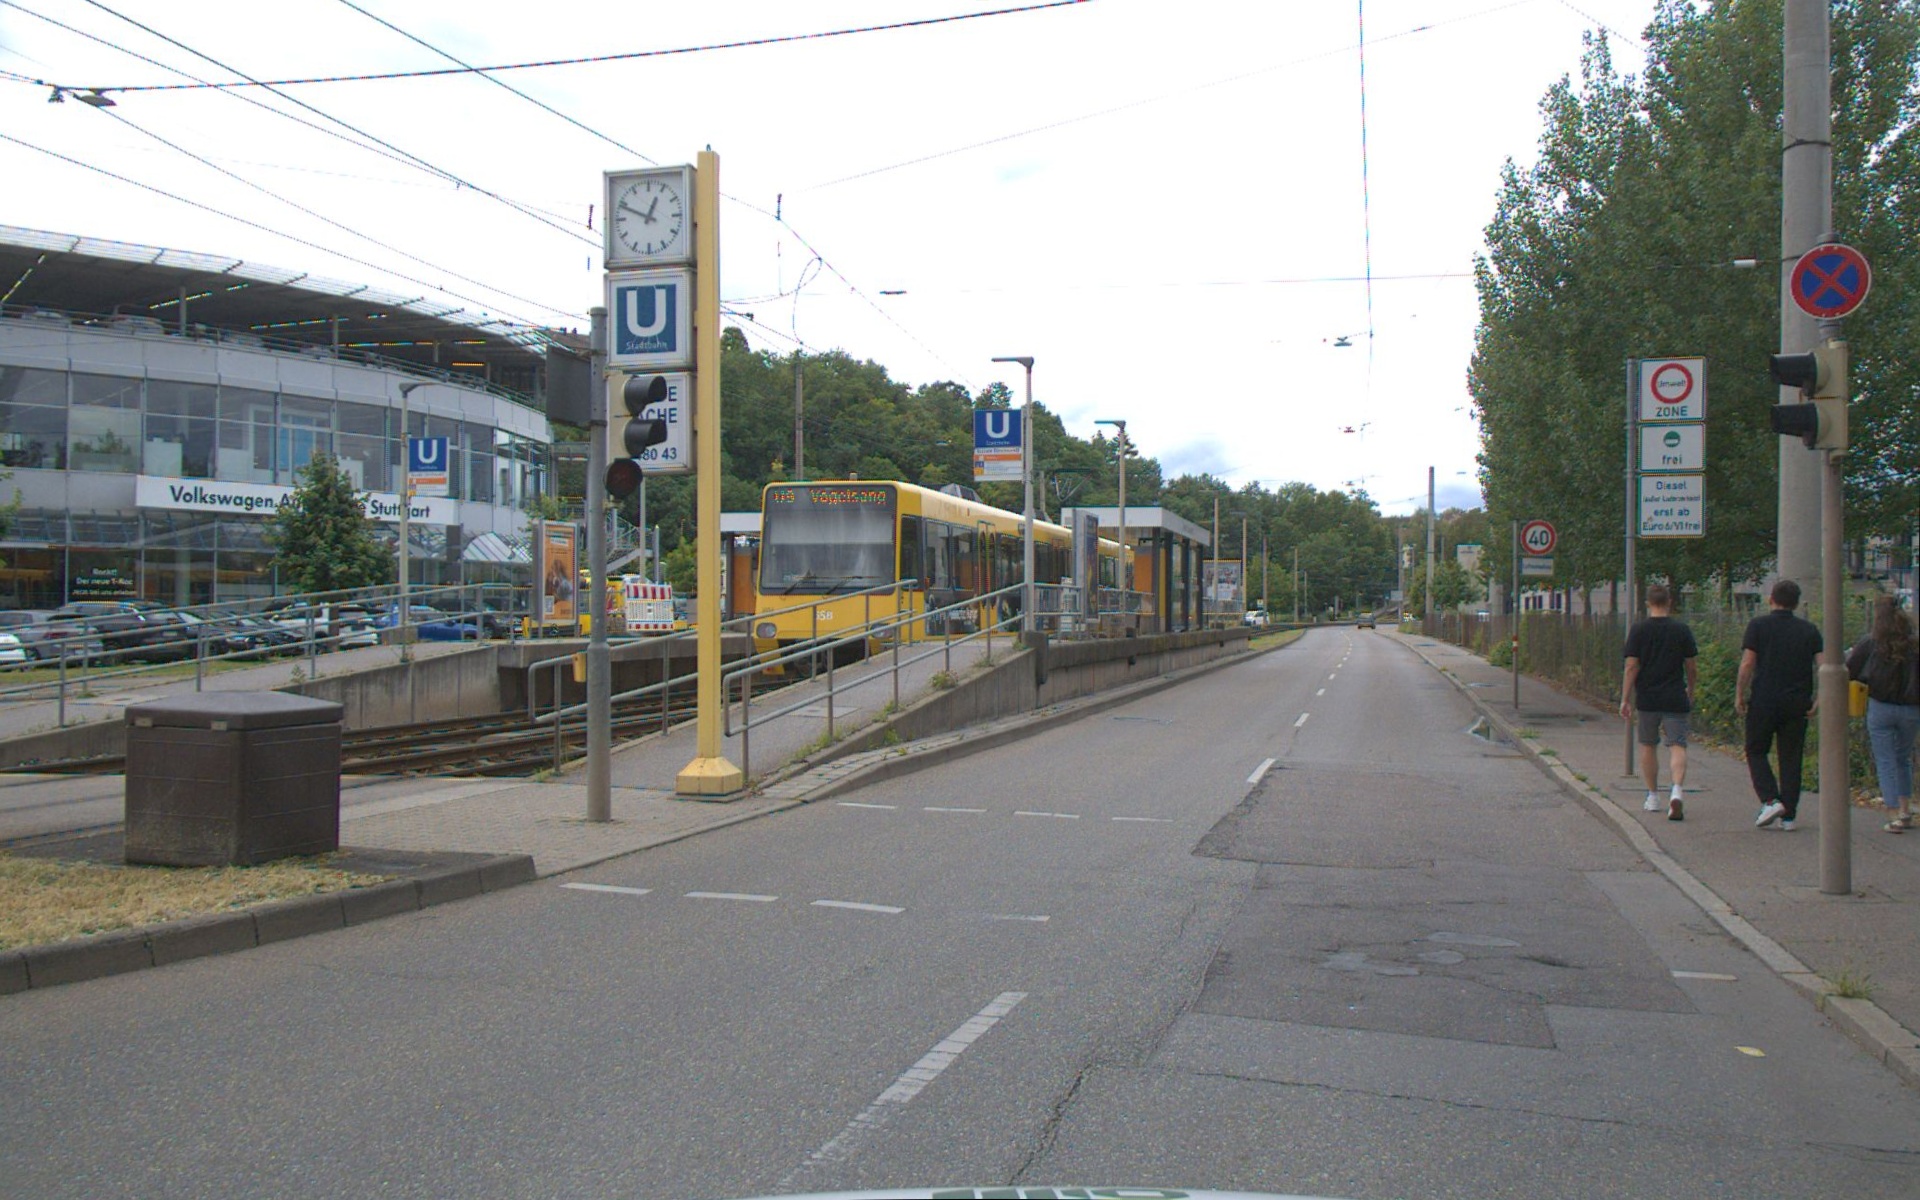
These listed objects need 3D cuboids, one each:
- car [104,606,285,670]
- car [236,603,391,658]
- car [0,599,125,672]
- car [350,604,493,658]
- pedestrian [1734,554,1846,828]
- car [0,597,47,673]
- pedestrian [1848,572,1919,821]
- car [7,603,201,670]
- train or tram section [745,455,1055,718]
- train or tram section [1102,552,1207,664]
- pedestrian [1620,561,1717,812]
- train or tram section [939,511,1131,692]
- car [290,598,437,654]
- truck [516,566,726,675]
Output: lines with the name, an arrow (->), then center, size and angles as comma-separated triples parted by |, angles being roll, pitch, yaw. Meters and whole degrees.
car -> -20.116, 0.970, 43.540 | 3.902, 1.581, 1.929 | 1, 0, 10
car -> -19.012, 0.877, 48.681 | 3.903, 1.581, 1.928 | 0, -1, 18
car -> -22.050, 0.832, 38.844 | 3.902, 1.582, 1.928 | 1, -5, 10
car -> -17.304, 0.997, 53.196 | 3.903, 1.582, 1.927 | 0, -5, 18
pedestrian -> 5.962, 0.642, 11.911 | 0.589, 1.900, 0.672 | 0, -2, 15
car -> -22.707, 0.754, 36.777 | 3.902, 1.582, 1.730 | 1, -5, 10
pedestrian -> 6.760, 0.692, 11.789 | 0.589, 1.719, 0.672 | 0, -5, 15
car -> -21.365, 0.885, 41.346 | 3.902, 1.581, 1.929 | 1, 0, 10
train or tram section -> -0.628, -0.180, 31.463 | 2.682, 4.036, 11.921 | 0, 0, 14
train or tram section -> 7.942, 0.312, 66.295 | 2.908, 4.136, 10.204 | 0, 0, 14
pedestrian -> 5.535, 0.679, 12.946 | 0.589, 1.900, 0.672 | 0, -5, 15
train or tram section -> 2.261, 0.066, 43.056 | 2.682, 4.036, 11.921 | 0, 0, 14
car -> -18.534, 0.811, 51.438 | 3.903, 1.582, 1.927 | 0, -5, 18
truck -> -10.430, 0.675, 52.123 | 2.637, 3.132, 9.012 | 0, -1, 16
